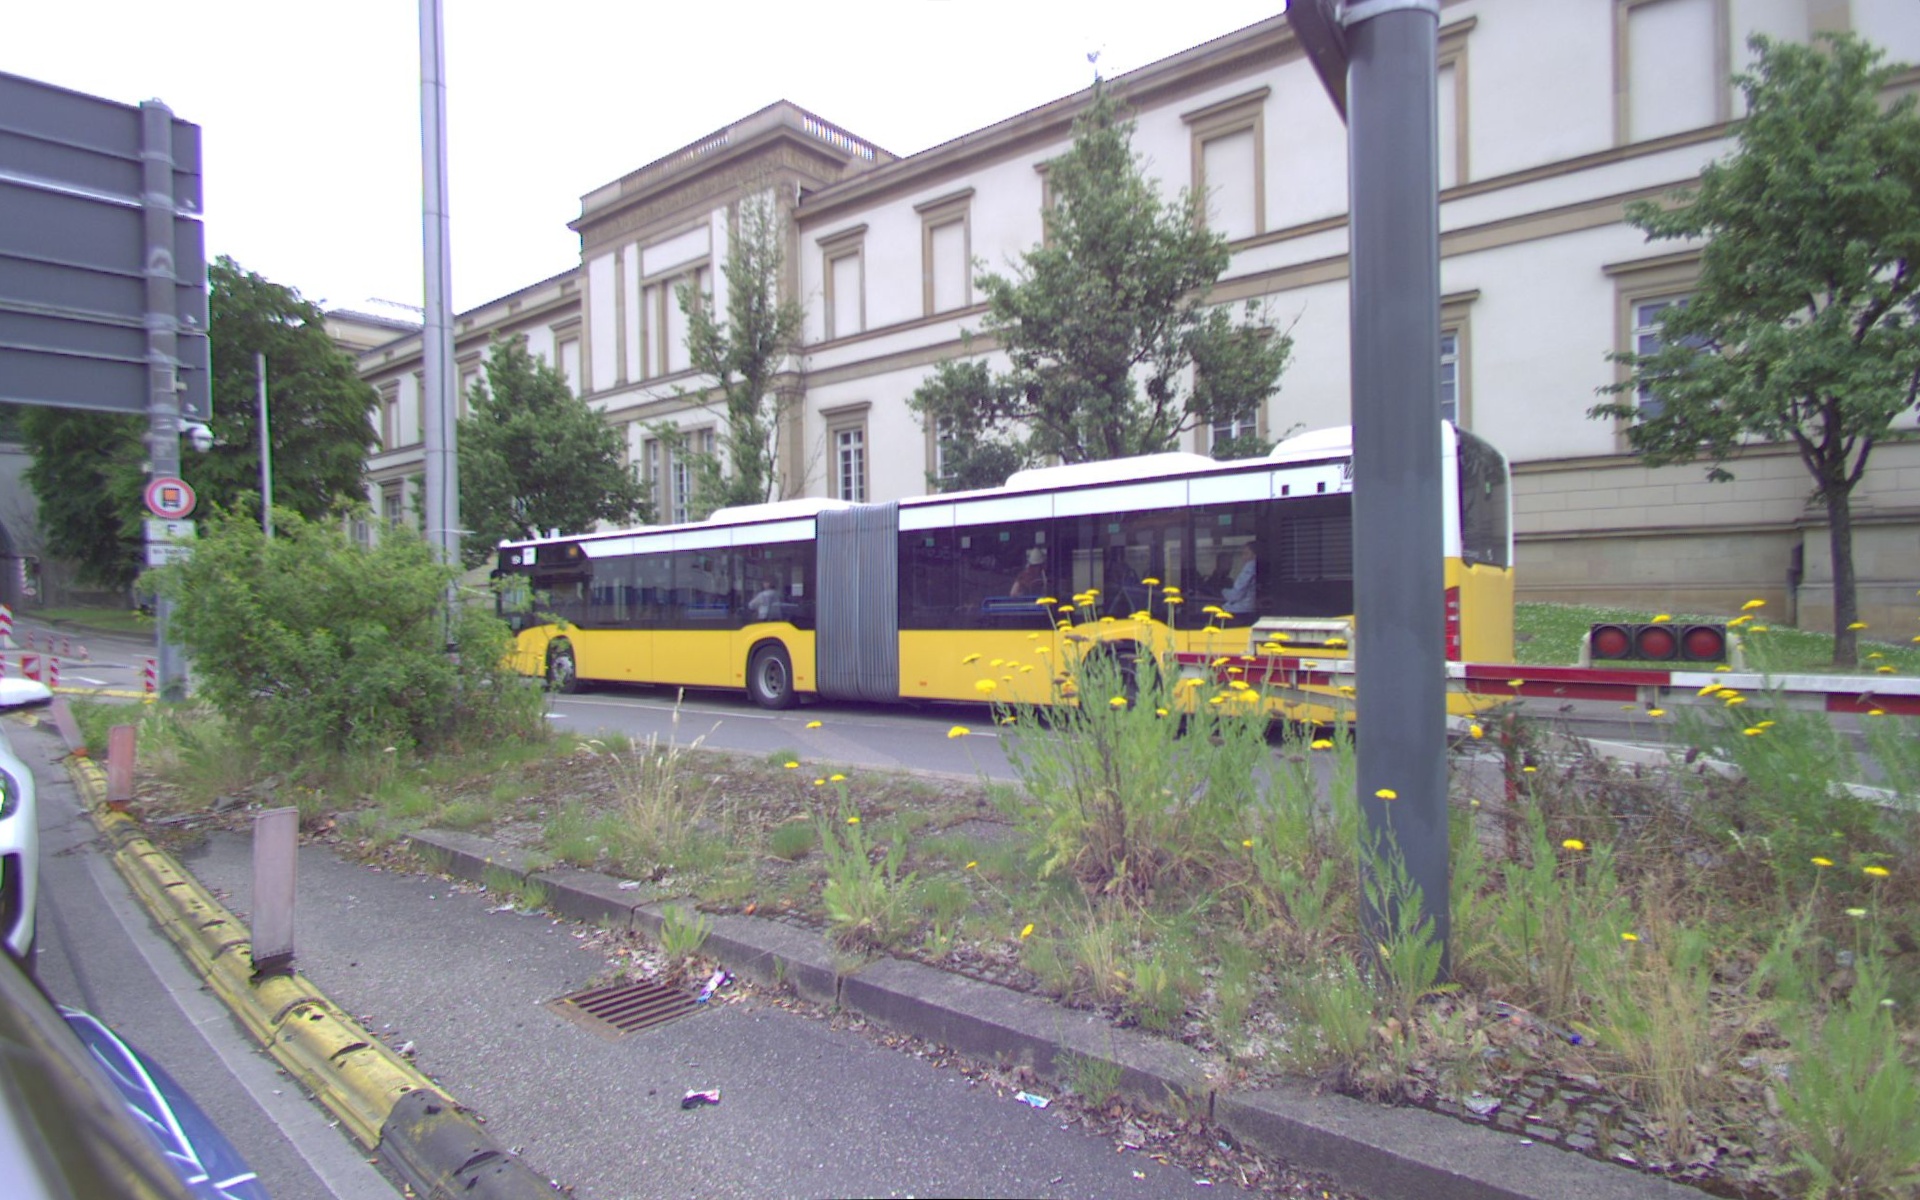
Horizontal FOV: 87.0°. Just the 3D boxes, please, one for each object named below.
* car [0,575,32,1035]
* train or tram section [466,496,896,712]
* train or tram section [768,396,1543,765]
[{"bbox_3d":[-5.233,0.724,4.203,3.911,1.568,1.733,-1,0,43],"label":"car"},{"bbox_3d":[-5.511,0.166,18.541,9.366,3.094,2.667,-2,-2,39],"label":"train or tram section"},{"bbox_3d":[1.638,-0.057,12.535,9.330,3.094,2.666,-2,-2,41],"label":"train or tram section"}]
